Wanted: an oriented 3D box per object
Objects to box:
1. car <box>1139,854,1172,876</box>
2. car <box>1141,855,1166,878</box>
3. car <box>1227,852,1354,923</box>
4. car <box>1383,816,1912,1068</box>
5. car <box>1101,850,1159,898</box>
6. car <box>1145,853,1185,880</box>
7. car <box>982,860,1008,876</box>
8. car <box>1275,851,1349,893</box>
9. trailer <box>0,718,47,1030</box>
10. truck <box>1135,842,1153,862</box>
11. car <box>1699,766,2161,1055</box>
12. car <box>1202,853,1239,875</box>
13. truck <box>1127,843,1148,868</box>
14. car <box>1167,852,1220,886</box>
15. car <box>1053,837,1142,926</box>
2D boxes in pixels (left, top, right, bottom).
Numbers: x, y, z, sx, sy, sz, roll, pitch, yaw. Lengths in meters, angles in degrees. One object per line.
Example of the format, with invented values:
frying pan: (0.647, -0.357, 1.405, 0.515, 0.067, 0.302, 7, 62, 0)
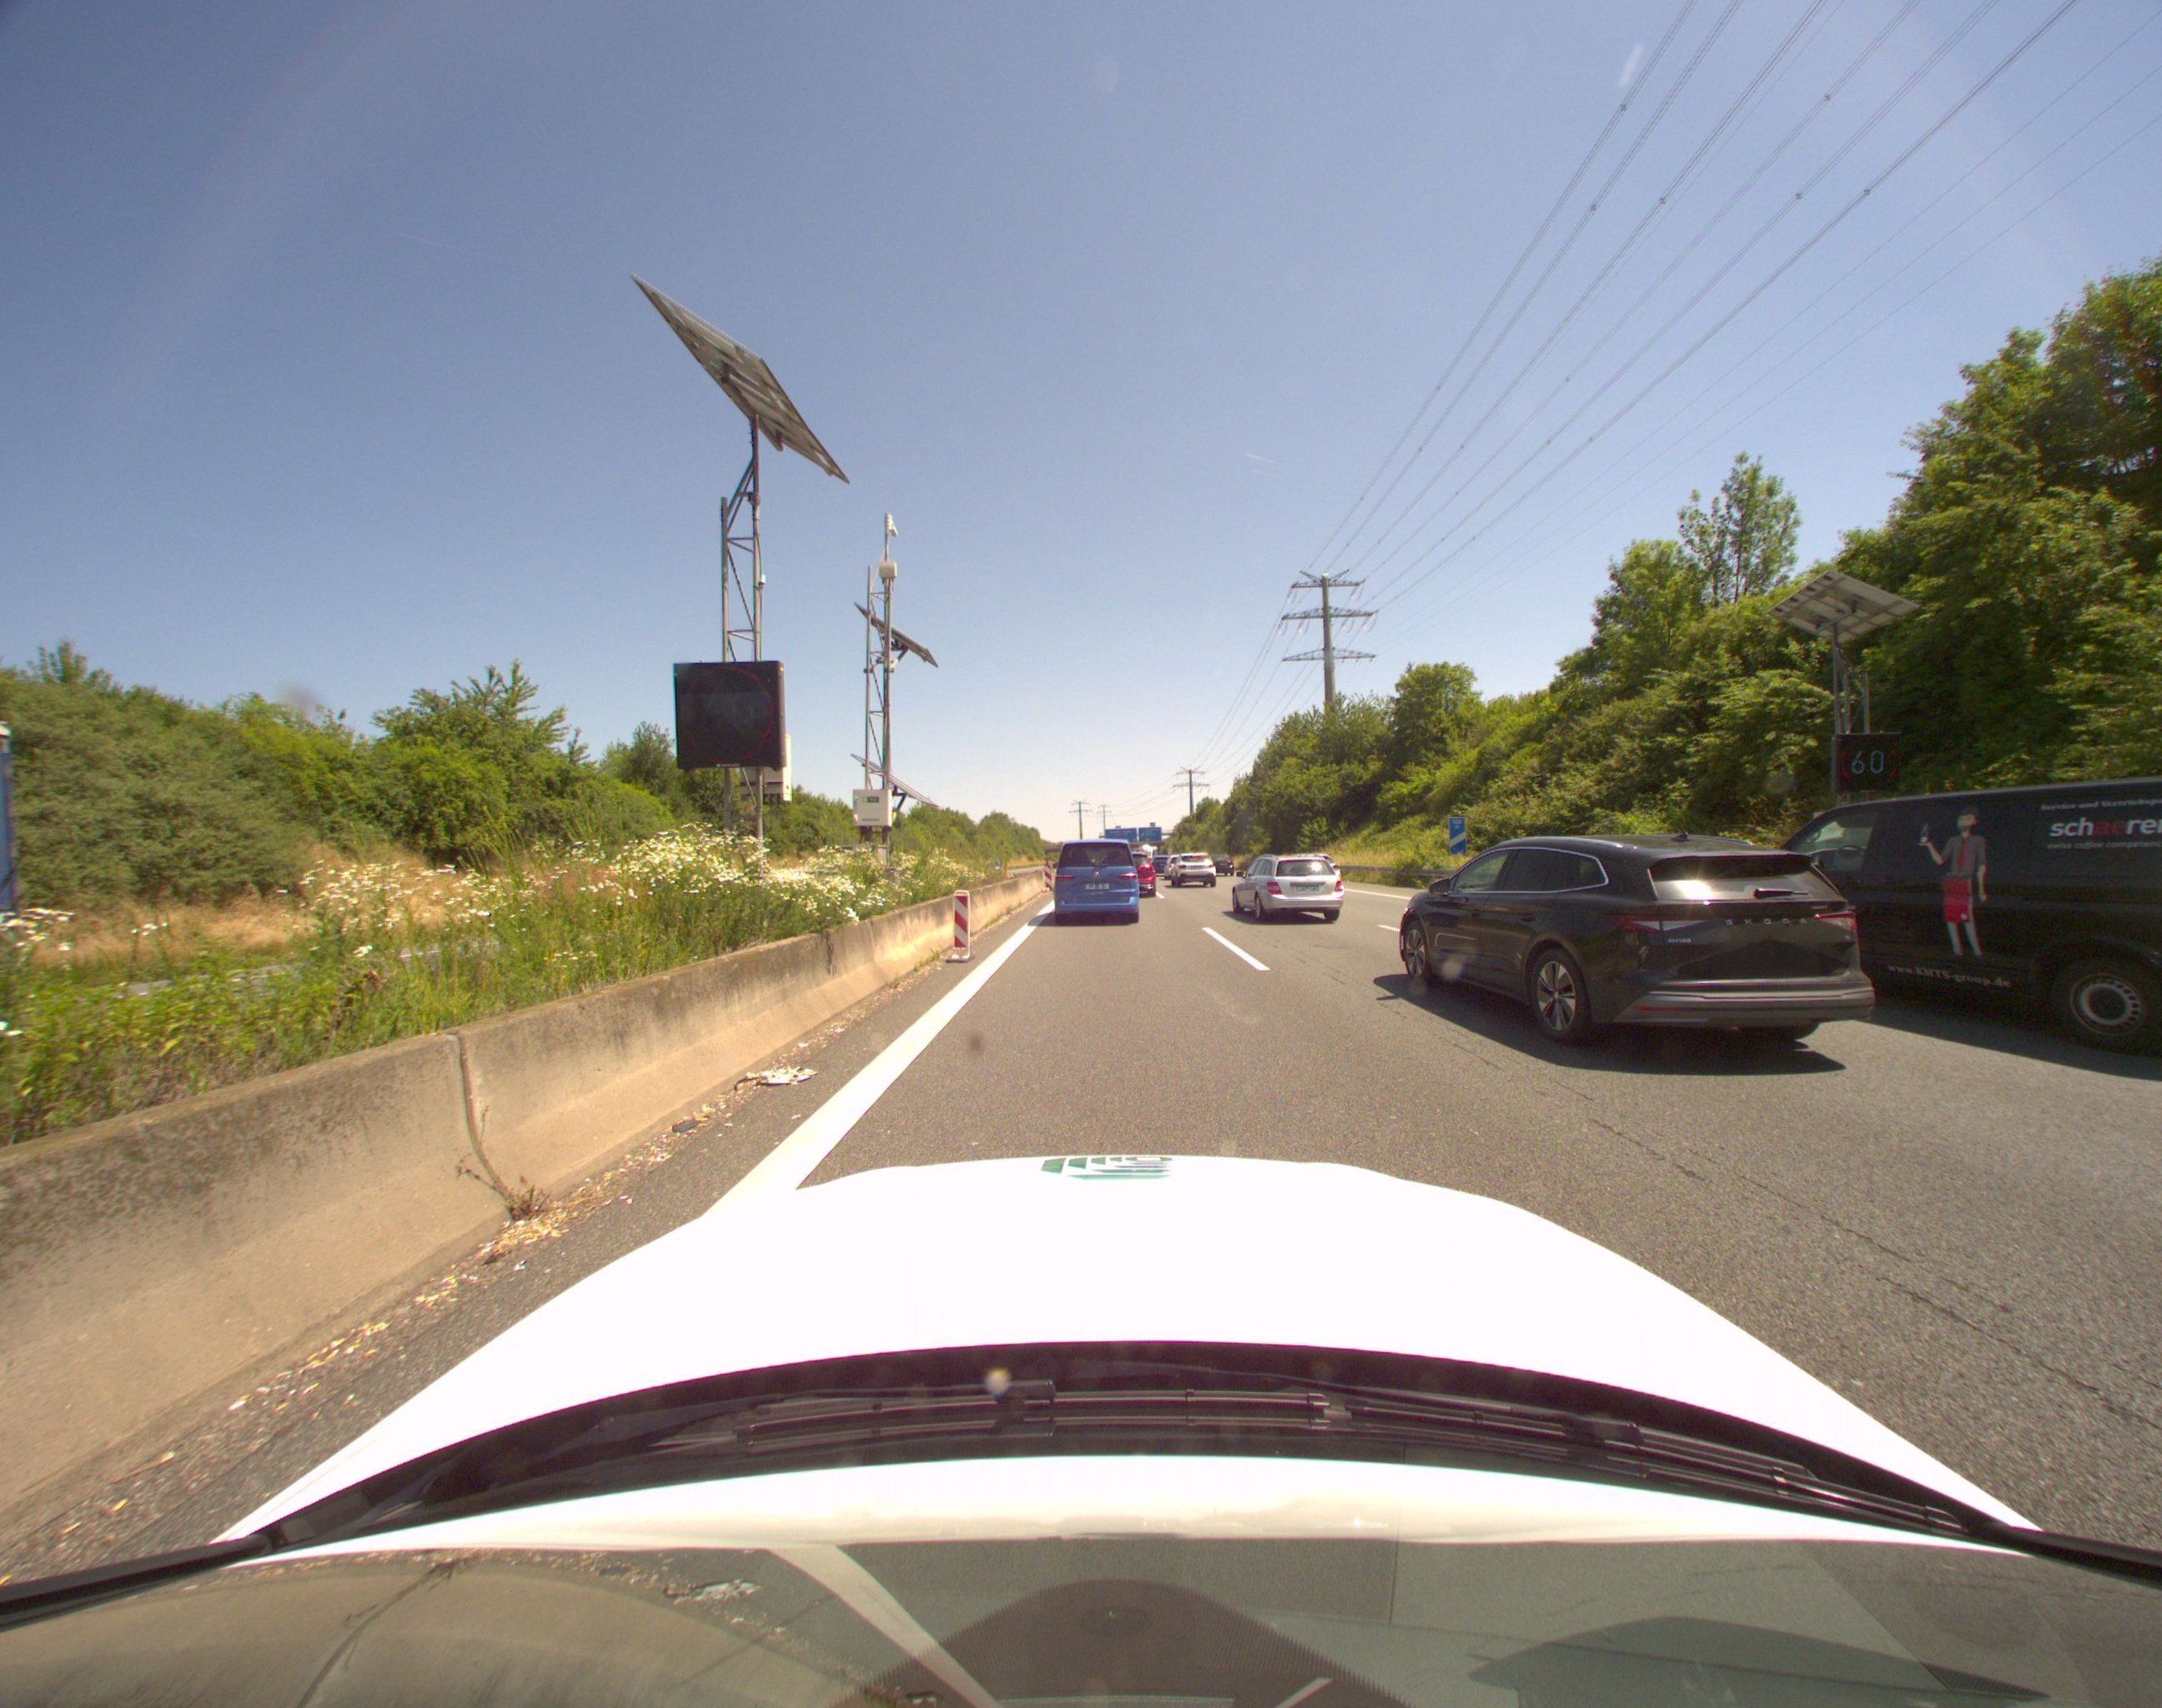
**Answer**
car: (5.249, 0.746, 57.980, 1.903, 1.516, 4.382, 0, 0, -1)
car: (6.457, 1.115, 72.747, 1.986, 2.013, 4.001, 0, 0, 1)
car: (4.714, 0.691, 18.987, 1.815, 1.437, 4.382, 0, 0, -1)
car: (4.525, 0.590, 7.538, 1.822, 1.614, 4.430, -1, -1, 0)
car: (1.750, 0.688, 30.256, 1.902, 1.631, 4.383, -1, 0, 0)
car: (5.030, 0.724, 49.308, 1.903, 1.516, 4.382, 0, 0, -1)
car: (-8.891, 1.408, 84.789, 1.986, 1.546, 4.914, -2, 0, 1)
car: (8.653, 0.636, 30.844, 1.735, 1.470, 4.015, -1, 0, 1)
trailer: (-15.628, 0.330, 4.154, 2.950, 4.056, 13.598, -4, 0, 1)
truck: (13.358, -0.465, 173.890, 2.636, 4.072, 16.440, 0, 0, 0)
car: (8.041, 0.371, 7.125, 1.778, 1.904, 4.699, 0, 0, 1)
car: (9.474, 0.663, 55.625, 1.729, 1.378, 4.301, 0, 0, -1)
truck: (6.350, 0.166, 91.662, 1.987, 2.723, 5.679, 0, 0, 0)
car: (5.144, 0.666, 37.734, 1.903, 1.508, 3.920, 0, 0, -1)
car: (0.282, 0.582, 19.541, 1.866, 1.879, 4.380, 0, 0, -2)
